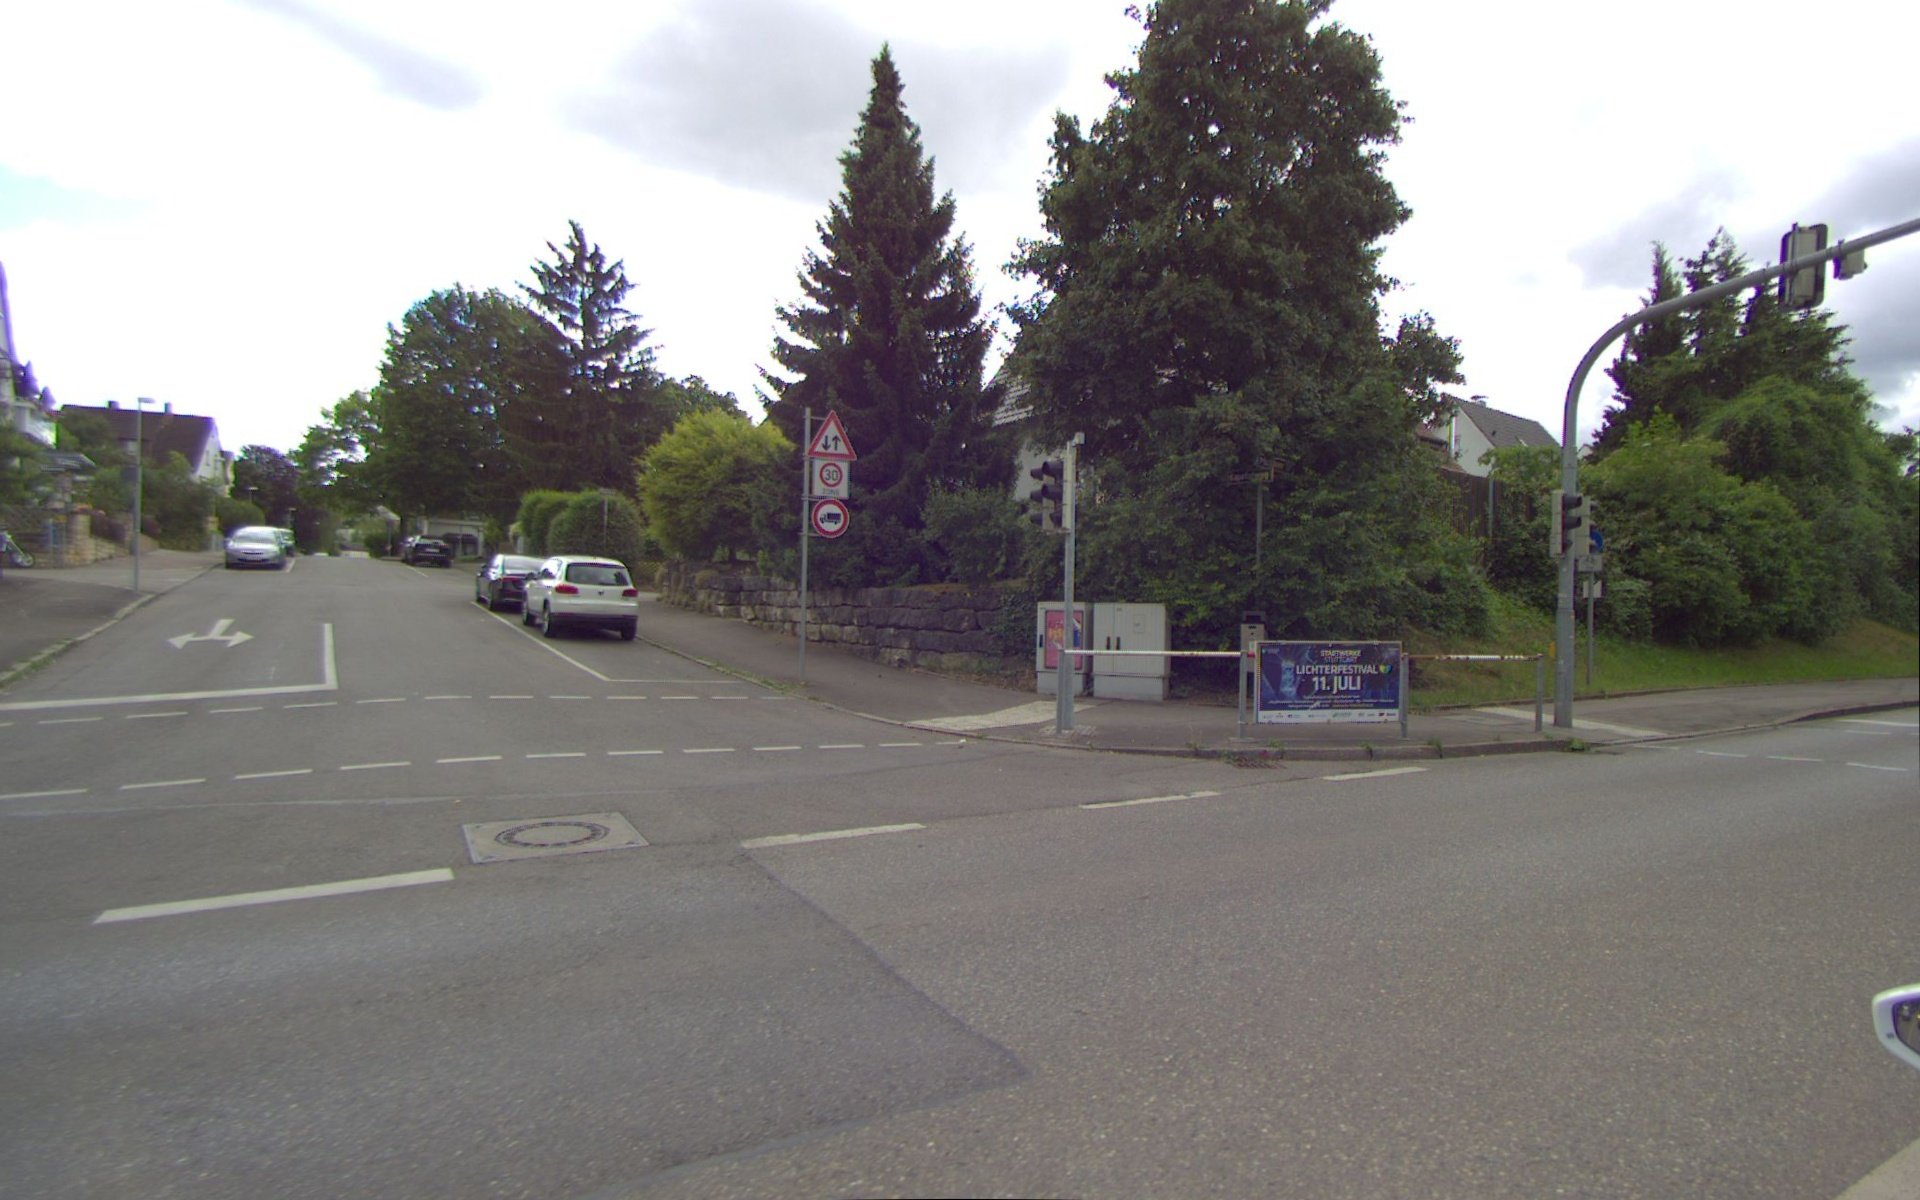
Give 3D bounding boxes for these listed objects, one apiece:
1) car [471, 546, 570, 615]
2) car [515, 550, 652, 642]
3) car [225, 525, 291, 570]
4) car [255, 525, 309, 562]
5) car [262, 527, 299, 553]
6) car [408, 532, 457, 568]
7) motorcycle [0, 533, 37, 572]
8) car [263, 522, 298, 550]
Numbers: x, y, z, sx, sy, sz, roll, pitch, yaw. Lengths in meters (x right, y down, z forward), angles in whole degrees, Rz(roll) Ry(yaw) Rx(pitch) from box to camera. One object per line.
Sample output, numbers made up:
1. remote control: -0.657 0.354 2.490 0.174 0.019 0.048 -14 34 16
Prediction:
1. car: -11.749 -0.566 26.697 1.781 1.531 3.963 1 4 -33
2. car: -8.252 -0.132 21.796 1.897 1.663 3.963 3 2 -33
3. car: -26.798 -2.035 38.441 1.780 1.530 3.965 2 3 -31
4. car: -31.265 -2.654 46.405 1.780 1.530 3.966 2 3 -31
5. car: -45.194 -4.023 66.883 1.780 1.530 3.966 2 3 -31
6. car: -26.306 -2.511 50.006 1.821 1.557 3.964 3 3 -32
7. motorcycle: -27.932 -1.391 29.040 0.493 1.122 1.790 4 3 42
8. car: -50.034 -4.734 74.029 1.854 1.862 3.966 2 3 -31
